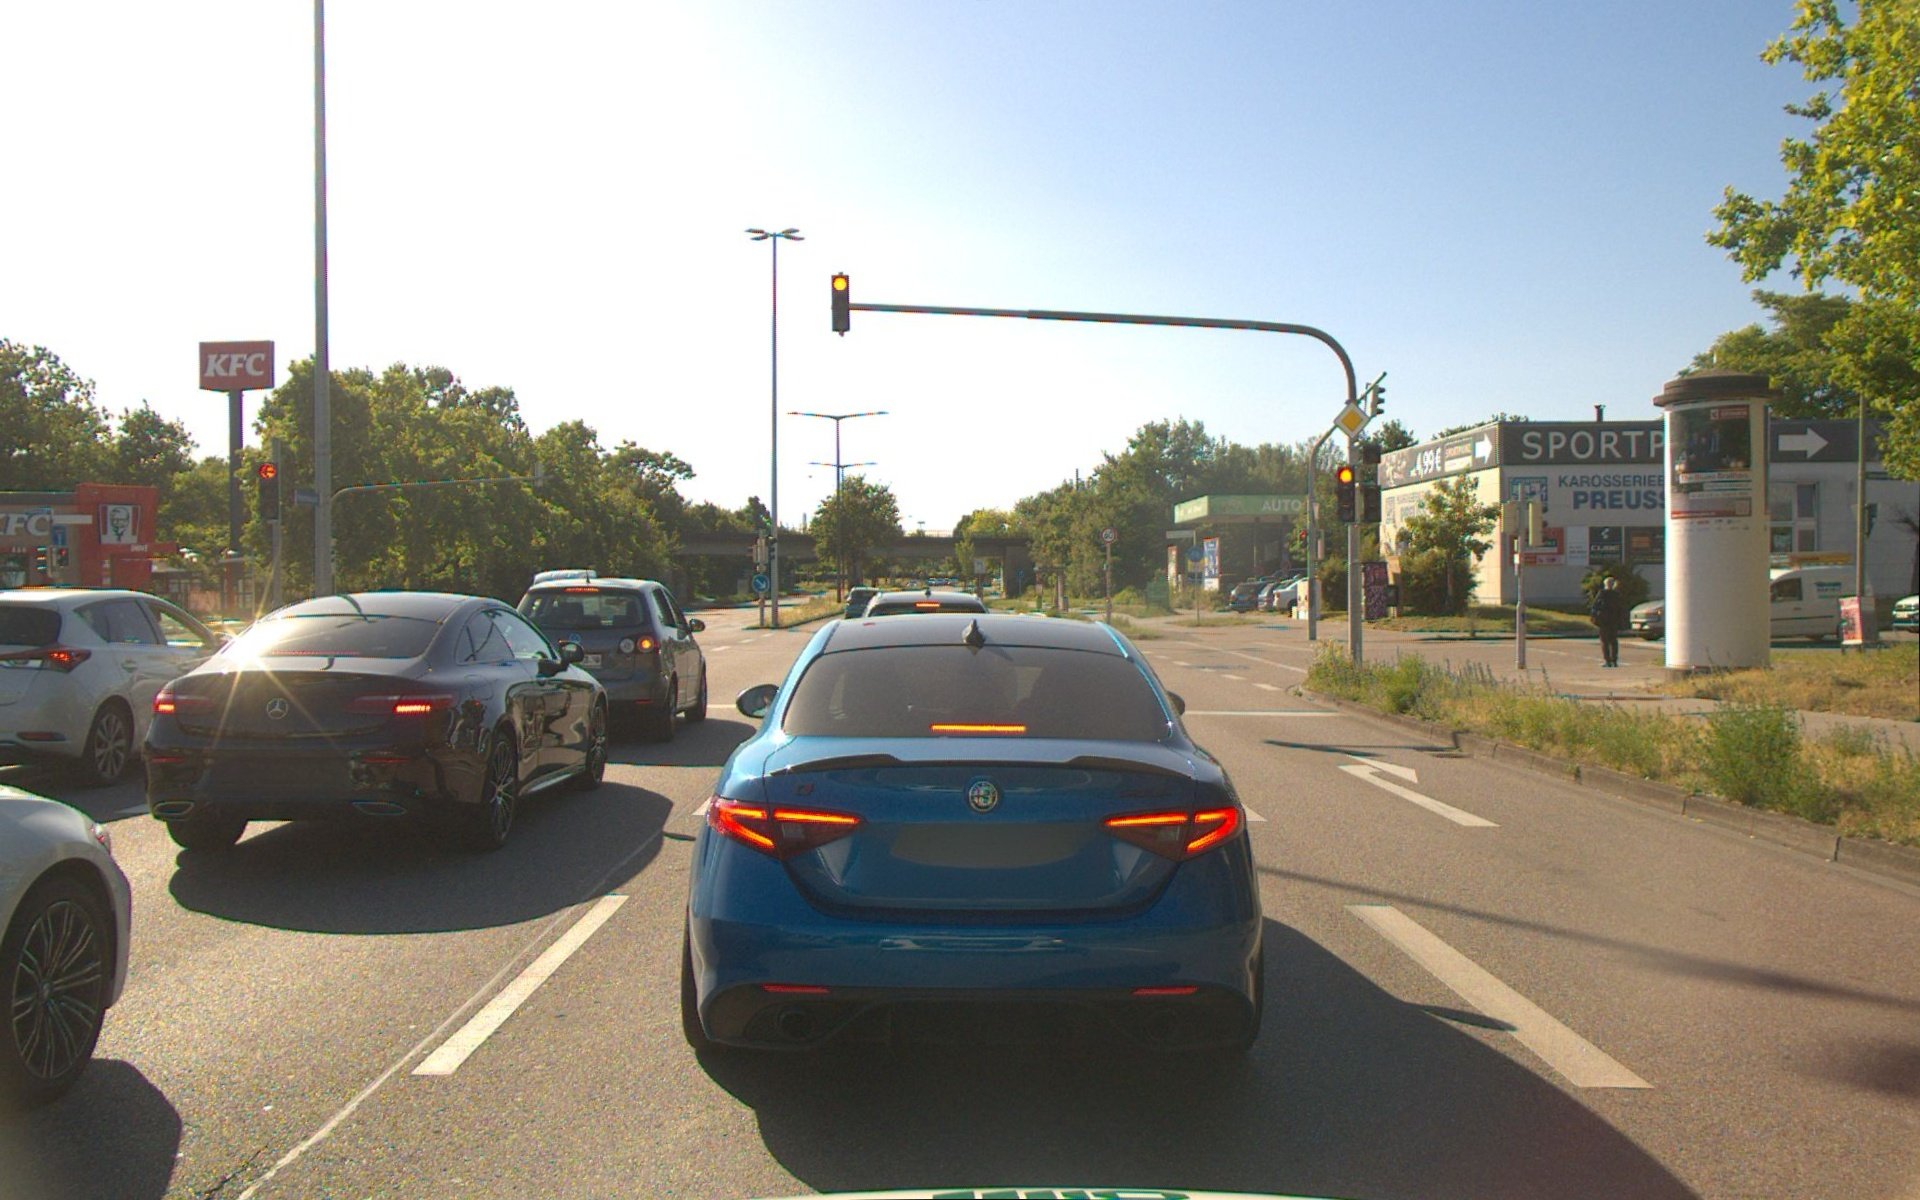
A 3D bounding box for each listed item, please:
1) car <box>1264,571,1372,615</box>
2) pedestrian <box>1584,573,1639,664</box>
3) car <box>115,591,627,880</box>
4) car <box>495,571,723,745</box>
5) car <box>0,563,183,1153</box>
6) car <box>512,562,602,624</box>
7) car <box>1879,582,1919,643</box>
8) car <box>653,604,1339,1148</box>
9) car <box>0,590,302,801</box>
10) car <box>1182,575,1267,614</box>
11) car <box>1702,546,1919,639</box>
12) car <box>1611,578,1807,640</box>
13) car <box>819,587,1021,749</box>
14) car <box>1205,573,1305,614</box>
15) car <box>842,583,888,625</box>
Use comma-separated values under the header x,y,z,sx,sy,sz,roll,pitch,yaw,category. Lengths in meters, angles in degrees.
x,y,z,sx,sy,sz,roll,pitch,yaw,category
14.350,-0.280,66.323,3.923,1.736,1.687,0,0,-17,car
12.667,0.353,32.164,0.805,1.752,0.854,0,0,6,pedestrian
-3.413,0.669,10.571,1.732,1.439,4.460,0,0,-1,car
-3.572,0.524,17.469,1.615,1.626,3.931,0,0,-1,car
-3.349,0.682,3.098,1.732,1.535,4.460,0,0,-1,car
-16.610,-0.296,68.557,2.382,2.469,5.830,0,1,-1,car
26.981,0.311,43.725,4.318,1.580,1.998,0,0,-4,car
0.072,0.746,6.391,1.828,1.409,3.931,0,0,-1,car
-7.188,0.648,13.626,1.819,1.454,4.403,0,0,-1,car
11.883,-0.263,74.332,3.428,1.736,1.688,0,0,-16,car
20.605,-0.192,40.159,4.318,2.183,1.998,0,0,-4,car
19.762,0.222,43.728,4.318,1.580,1.998,0,0,-4,car
-0.391,0.608,17.056,1.828,1.475,3.931,0,0,-1,car
12.678,-0.269,71.153,3.928,1.736,1.686,0,0,-20,car
-3.790,0.142,66.509,1.782,1.622,4.048,0,1,-3,car
